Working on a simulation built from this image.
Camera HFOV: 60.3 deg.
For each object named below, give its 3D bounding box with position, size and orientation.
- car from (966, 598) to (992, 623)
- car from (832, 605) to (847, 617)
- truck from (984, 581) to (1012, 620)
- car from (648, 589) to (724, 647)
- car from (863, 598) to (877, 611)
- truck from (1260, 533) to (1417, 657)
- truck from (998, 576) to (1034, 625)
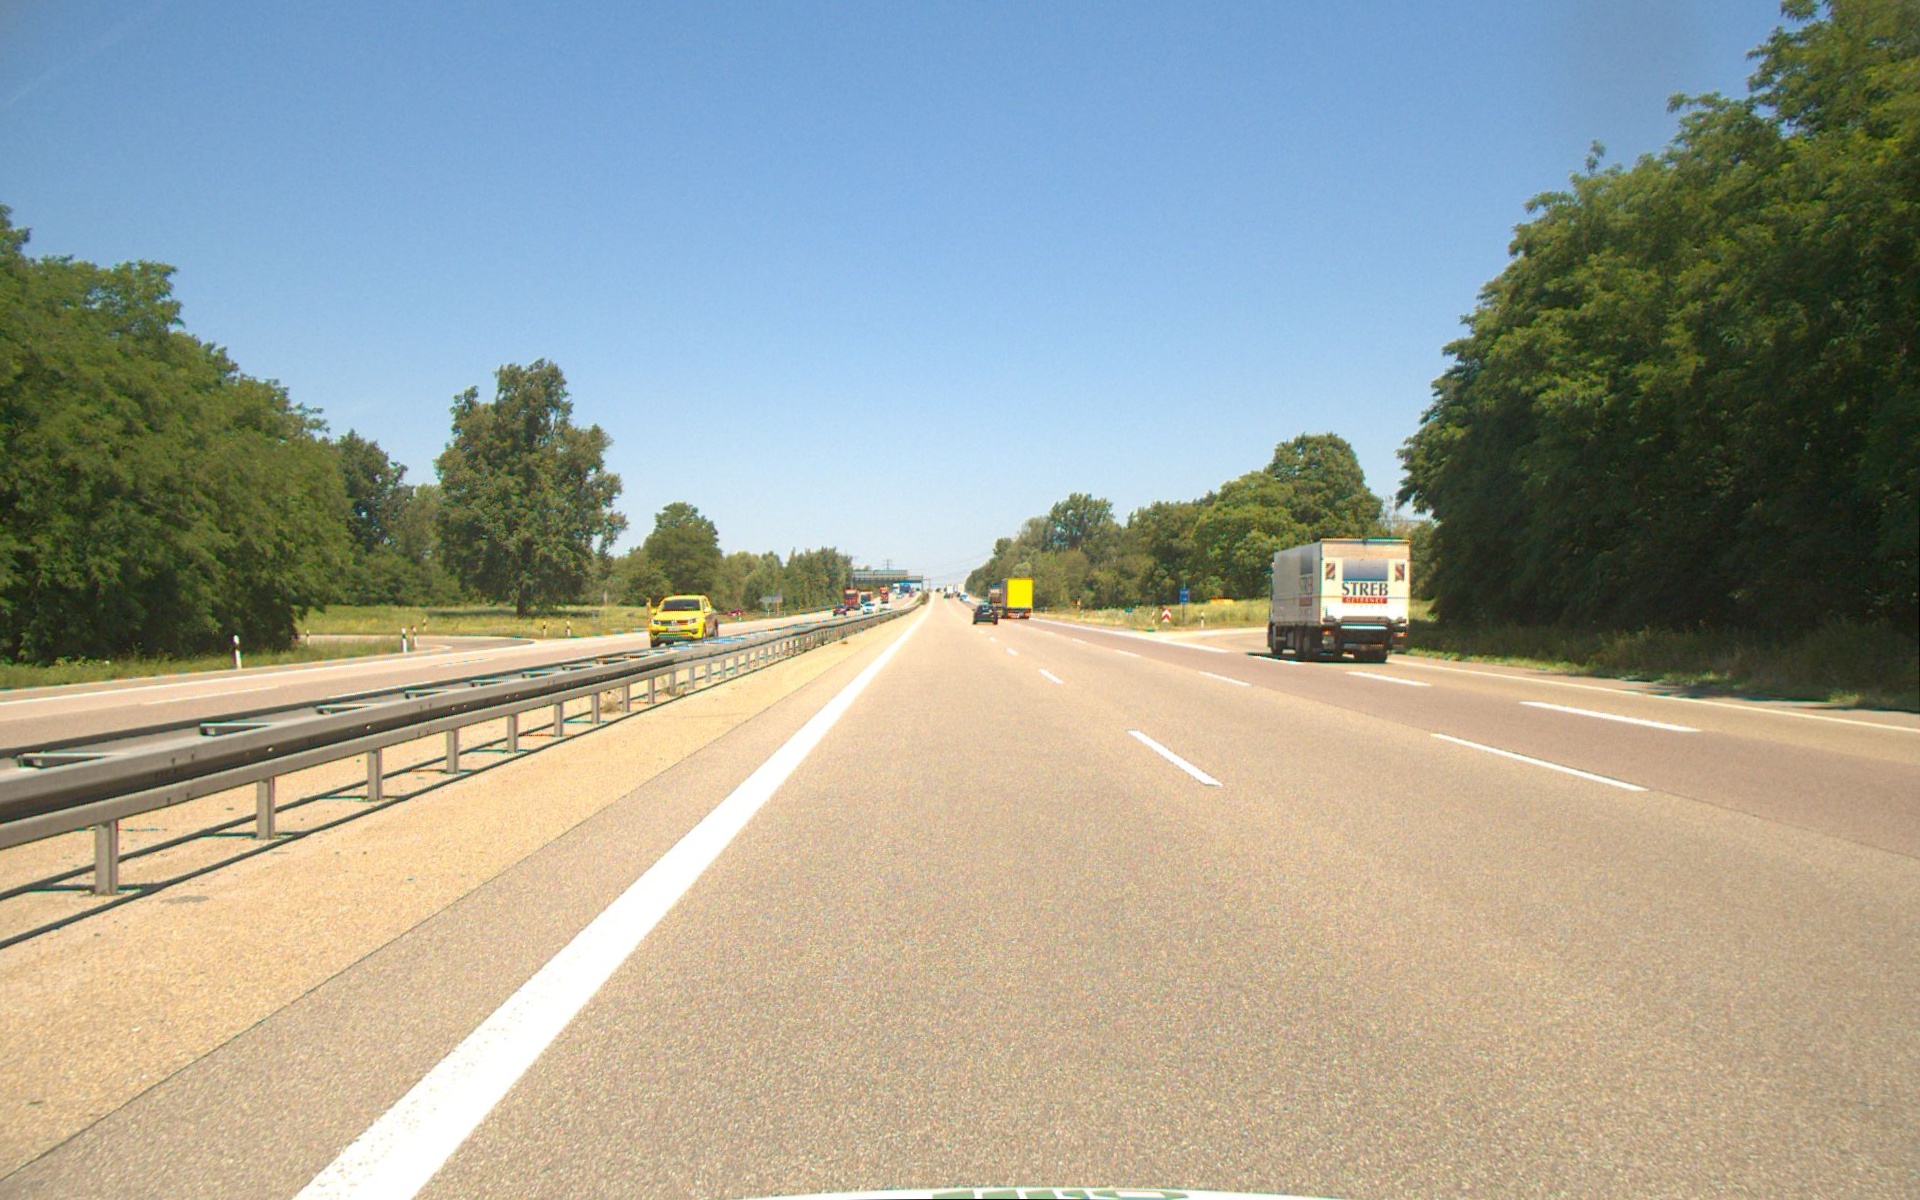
[{"bbox_3d":[1.377,0.762,121.766,1.790,1.736,3.999,1,0,-1],"label":"car"},{"bbox_3d":[-16.380,1.470,225.490,1.726,1.521,4.074,-2,0,-1],"label":"car"},{"bbox_3d":[4.999,0.061,221.324,3.298,4.966,15.085,1,0,0],"label":"truck"},{"bbox_3d":[-9.944,0.641,60.467,1.953,1.998,5.210,1,0,-1],"label":"car"},{"bbox_3d":[-11.903,0.605,219.114,1.726,1.722,4.818,-1,0,-1],"label":"car"},{"bbox_3d":[11.498,-0.128,51.364,2.965,3.377,10.775,1,0,3],"label":"truck"},{"bbox_3d":[5.881,0.084,175.653,3.308,4.966,15.085,1,0,0],"label":"truck"}]
